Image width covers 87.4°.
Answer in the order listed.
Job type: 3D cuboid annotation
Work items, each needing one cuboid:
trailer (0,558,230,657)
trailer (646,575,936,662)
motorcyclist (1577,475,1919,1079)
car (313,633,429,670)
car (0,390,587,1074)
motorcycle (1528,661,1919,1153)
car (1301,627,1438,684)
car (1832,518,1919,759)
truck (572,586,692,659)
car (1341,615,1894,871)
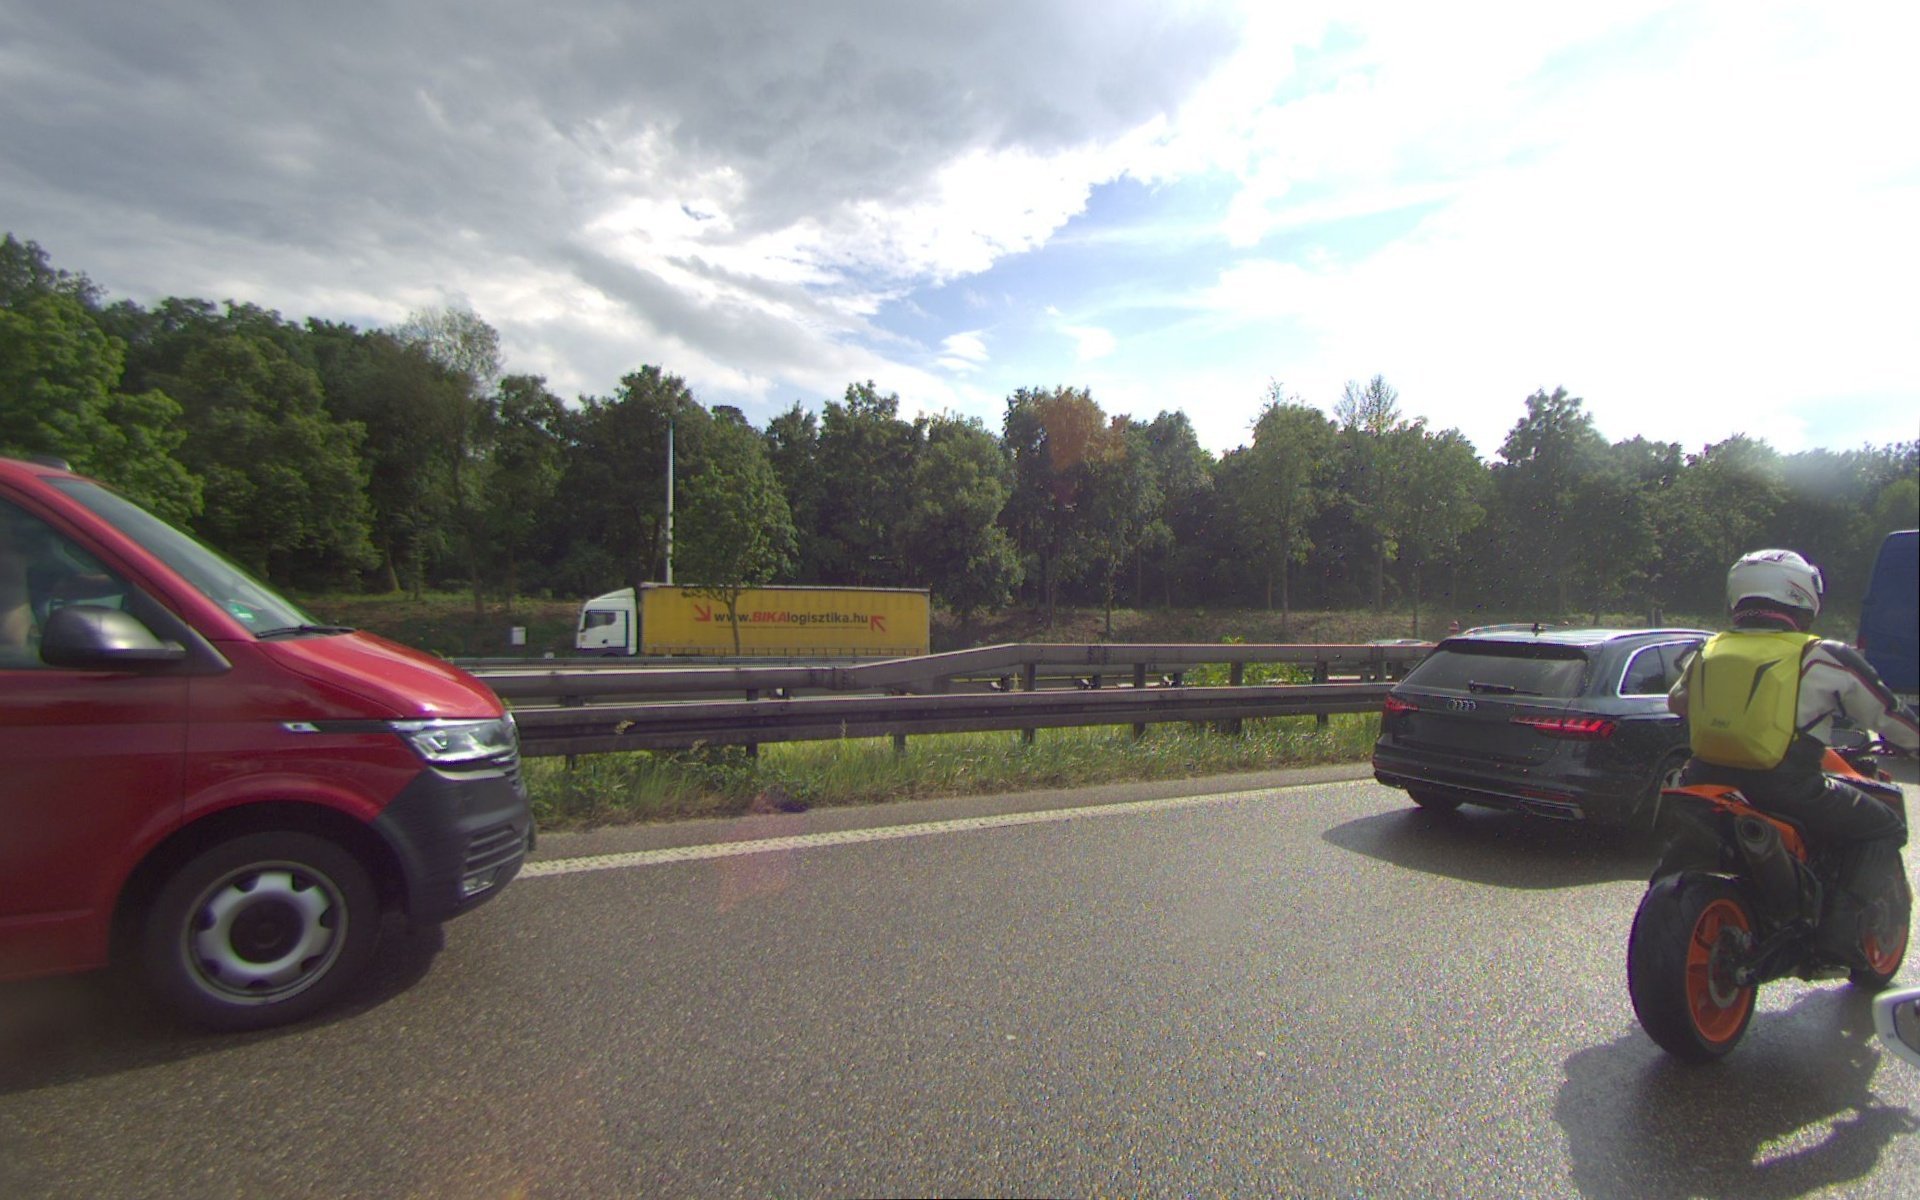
[{"bbox_3d":[-35.241,0.309,38.402,11.550,3.647,2.178,1,-2,-23],"label":"trailer"},{"bbox_3d":[-7.923,0.966,48.010,13.442,3.744,1.992,2,0,-18],"label":"trailer"},{"bbox_3d":[3.056,0.538,3.696,1.376,1.784,0.816,2,0,-34],"label":"motorcyclist"},{"bbox_3d":[-24.928,2.171,42.671,3.942,1.523,1.891,1,-2,-22],"label":"car"},{"bbox_3d":[-3.904,0.368,3.404,4.695,2.011,1.881,1,0,-30],"label":"car"},{"bbox_3d":[3.054,0.905,3.707,2.096,1.280,0.814,1,0,-34],"label":"motorcycle"},{"bbox_3d":[13.364,1.769,32.760,4.450,1.768,1.858,1,-2,-31],"label":"car"},{"bbox_3d":[13.280,0.493,12.439,5.709,2.684,2.006,2,0,-30],"label":"car"},{"bbox_3d":[-14.871,1.039,45.754,4.996,3.139,1.974,2,0,-18],"label":"truck"},{"bbox_3d":[5.077,0.883,7.601,4.415,1.430,1.711,2,0,-30],"label":"car"}]
